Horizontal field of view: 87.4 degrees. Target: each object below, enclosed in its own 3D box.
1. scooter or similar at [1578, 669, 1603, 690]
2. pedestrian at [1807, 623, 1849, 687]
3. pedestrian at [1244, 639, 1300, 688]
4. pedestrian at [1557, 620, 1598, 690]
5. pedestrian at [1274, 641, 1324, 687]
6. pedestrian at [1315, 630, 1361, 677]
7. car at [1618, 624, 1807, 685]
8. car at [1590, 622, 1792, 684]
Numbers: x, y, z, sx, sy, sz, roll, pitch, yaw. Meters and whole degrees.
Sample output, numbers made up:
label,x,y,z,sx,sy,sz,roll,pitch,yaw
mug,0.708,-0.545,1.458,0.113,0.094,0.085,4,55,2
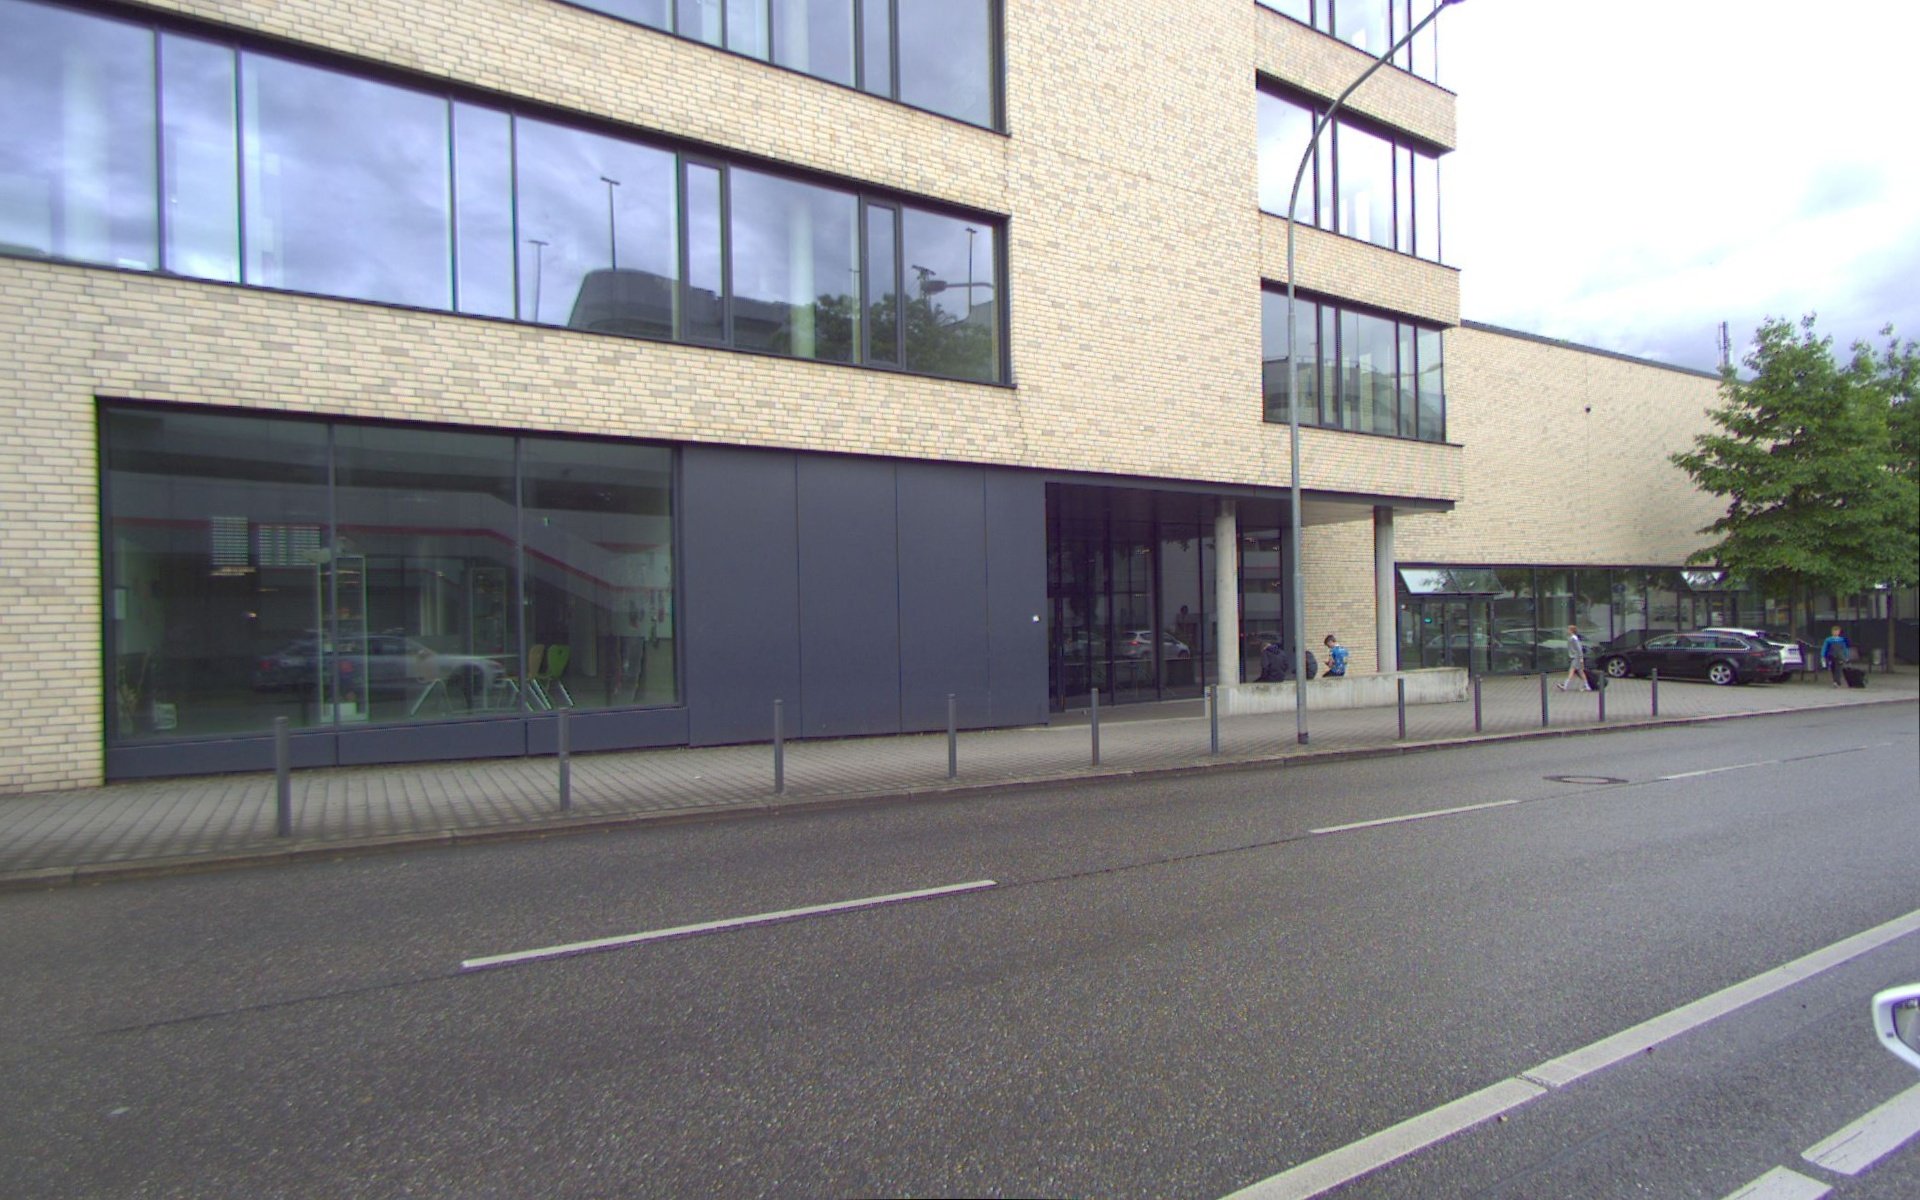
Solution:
label,x,y,z,sx,sy,sz,roll,pitch,yaw
scooter or similar,16.042,2.020,25.558,0.609,0.507,0.278,2,0,-32
pedestrian,24.764,1.554,28.659,0.745,1.748,0.685,0,1,-31
pedestrian,5.905,1.201,19.027,0.752,0.796,0.595,9,-4,-30
pedestrian,15.569,1.378,25.320,0.473,1.719,0.672,3,-1,-30
pedestrian,6.578,1.244,19.496,0.719,0.856,0.583,2,-1,-30
pedestrian,7.538,1.059,20.036,0.519,0.897,0.676,2,0,-36
car,23.504,1.646,31.531,1.980,1.595,4.388,-1,1,-35
car,21.444,1.490,29.637,1.981,1.608,4.437,1,-1,-36
